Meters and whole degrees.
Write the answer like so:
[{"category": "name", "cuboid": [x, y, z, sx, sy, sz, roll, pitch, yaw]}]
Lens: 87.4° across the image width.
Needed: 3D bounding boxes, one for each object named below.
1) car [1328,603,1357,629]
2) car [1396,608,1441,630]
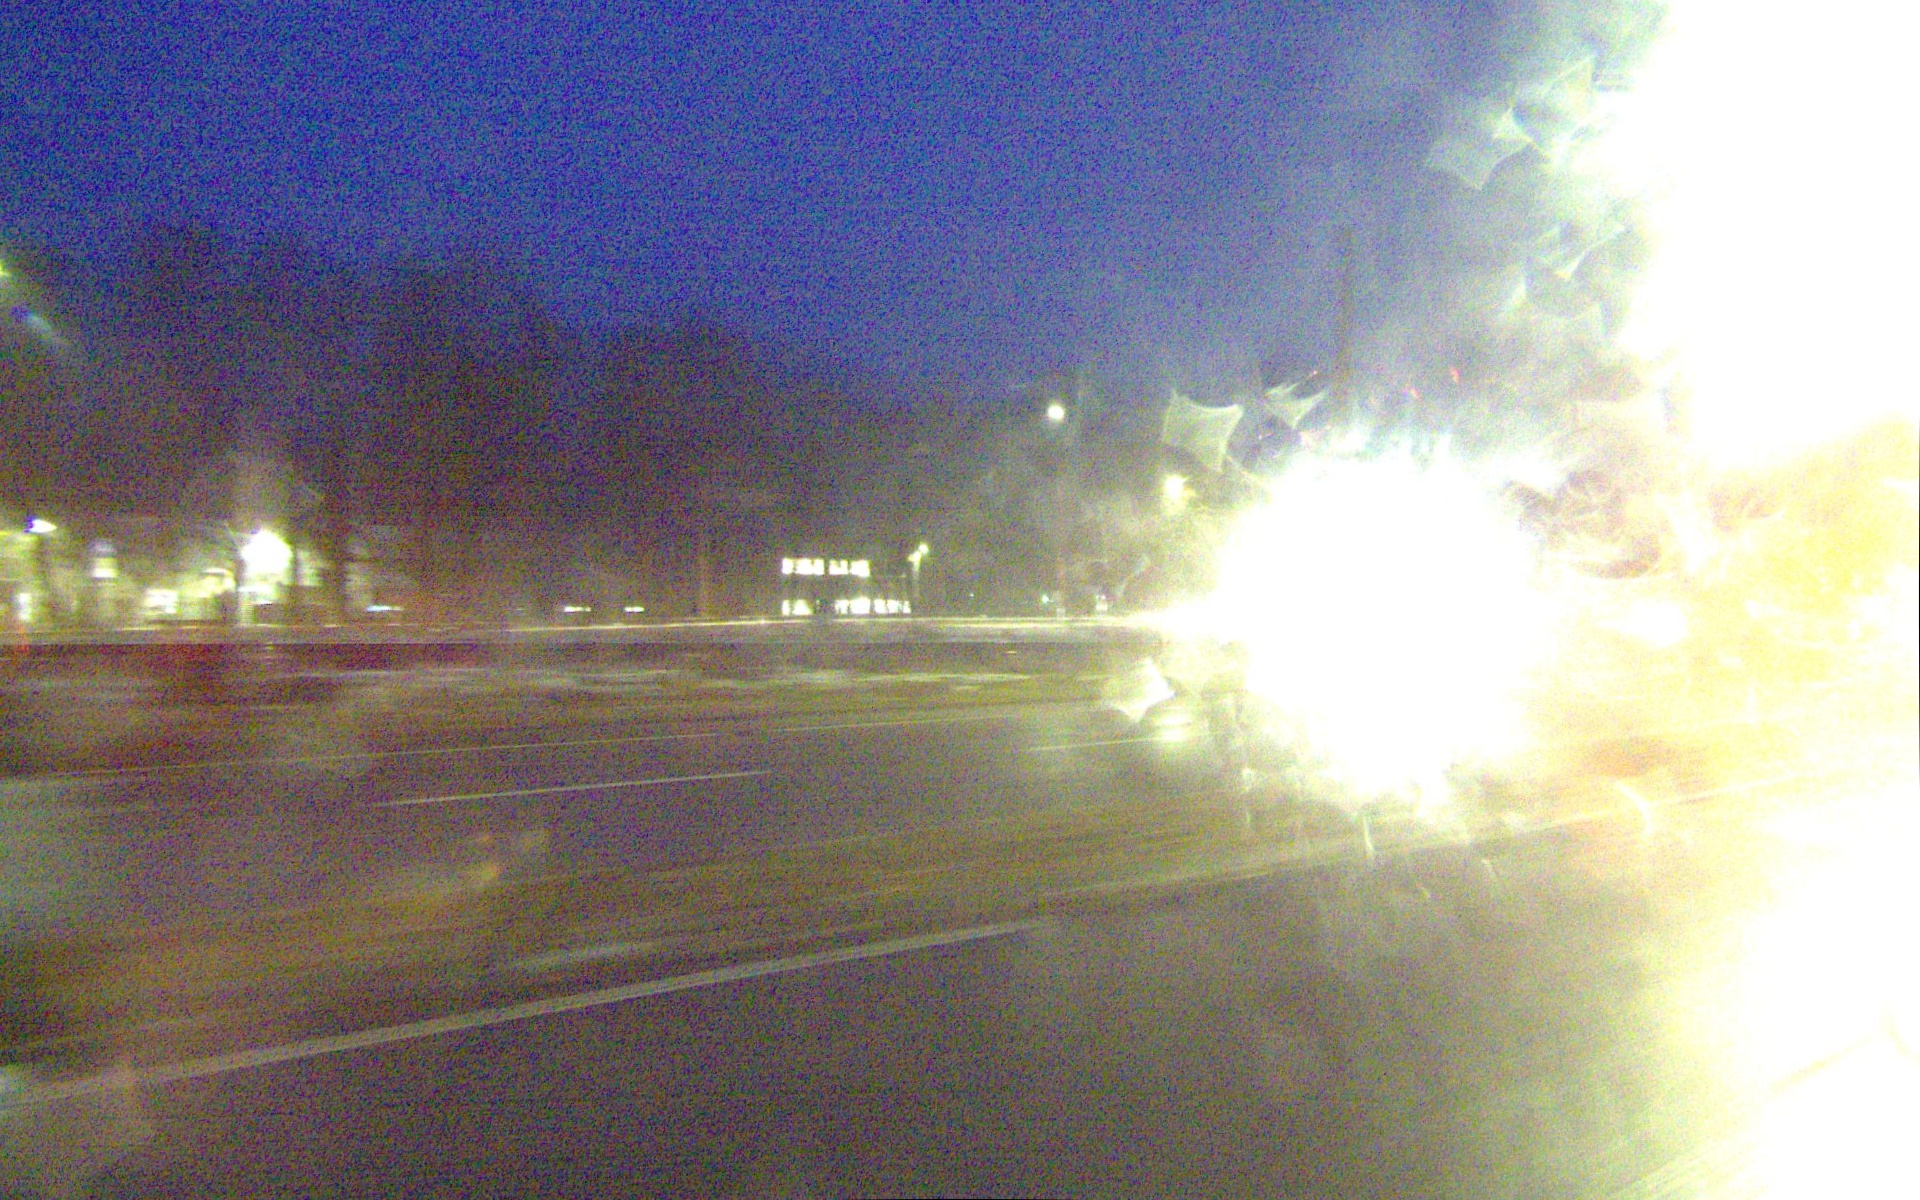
[{"category": "car", "cuboid": [24.896, 1.031, 65.293, 1.487, 1.538, 4.371, 3, 1, 23]}, {"category": "car", "cuboid": [33.908, 1.379, 74.220, 3.974, 1.539, 1.704, 1, 1, -45]}]
